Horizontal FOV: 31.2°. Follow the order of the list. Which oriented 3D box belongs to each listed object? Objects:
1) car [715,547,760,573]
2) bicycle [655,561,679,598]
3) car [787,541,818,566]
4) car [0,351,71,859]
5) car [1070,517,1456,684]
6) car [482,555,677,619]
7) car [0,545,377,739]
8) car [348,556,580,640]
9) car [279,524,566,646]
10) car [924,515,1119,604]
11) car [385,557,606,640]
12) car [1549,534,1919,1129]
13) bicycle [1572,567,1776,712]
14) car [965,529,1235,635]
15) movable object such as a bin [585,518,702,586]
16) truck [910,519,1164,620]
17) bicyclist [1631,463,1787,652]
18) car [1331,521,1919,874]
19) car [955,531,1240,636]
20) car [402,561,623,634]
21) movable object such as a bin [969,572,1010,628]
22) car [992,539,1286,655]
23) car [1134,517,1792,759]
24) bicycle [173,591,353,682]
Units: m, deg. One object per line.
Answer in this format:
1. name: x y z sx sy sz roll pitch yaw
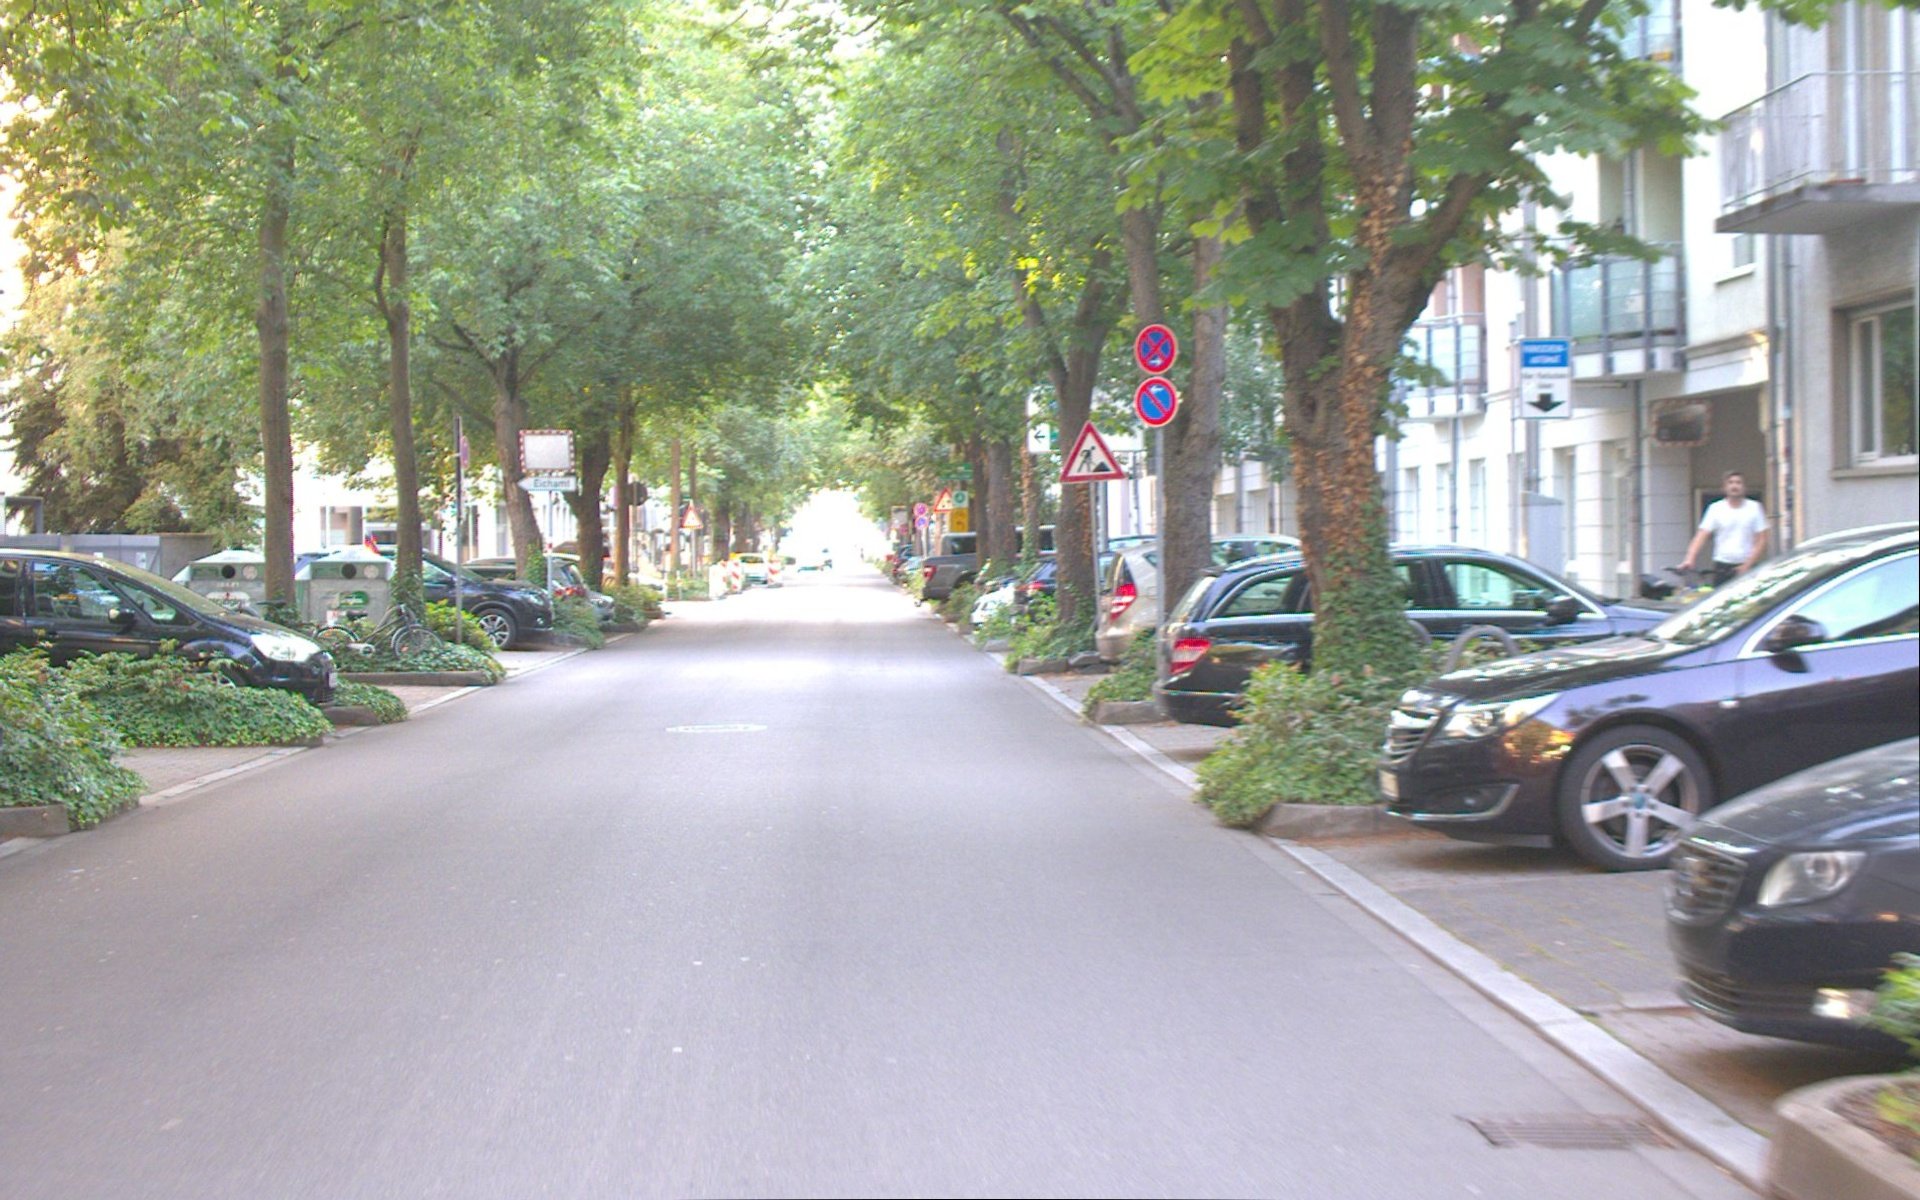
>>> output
1. car: -10.917 -1.968 168.607 1.993 1.284 4.001 -1 1 -6
2. bicycle: -9.304 -0.647 109.208 0.683 1.149 1.981 -1 1 -7
3. car: -10.322 -3.073 225.393 2.009 1.607 4.120 0 1 -3
4. car: -7.361 0.036 17.737 5.003 2.564 2.121 -1 1 -2
5. car: 3.304 -0.007 38.085 3.969 1.580 1.916 -3 1 -2
6. car: -9.485 -0.339 85.869 4.619 1.547 2.075 0 1 1
7. car: -7.717 0.350 30.154 4.852 1.616 2.160 0 1 -1
8. car: -8.958 -0.050 62.320 3.986 1.459 1.922 -1 1 -3
9. car: -8.875 -0.262 57.050 4.504 1.949 2.000 0 1 -3
10. car: 1.468 -1.003 84.080 4.599 2.059 2.198 -1 1 -3
11. car: -9.077 -0.047 67.367 3.987 1.560 1.929 0 1 3
12. car: 4.263 0.471 9.586 4.840 1.443 2.042 -3 1 1
13. bicycle: 6.116 0.305 29.681 0.620 1.160 3.402 -1 1 -8
14. car: 2.552 -0.339 63.322 4.641 1.612 2.010 -4 1 -5
15. movable object such as a bin: -11.396 -1.736 123.679 4.045 2.375 2.785 -1 1 -7
16. truck: 1.778 -0.728 81.347 5.887 2.303 2.212 -1 1 -1
17. bicyclist: 6.503 -0.369 29.897 0.970 1.599 1.136 -1 1 -9
18. car: 4.217 0.351 16.026 4.678 1.383 2.000 -3 1 0
19. car: 2.285 -0.292 57.991 4.599 1.463 1.796 -4 1 -2
20. car: -9.076 -0.064 69.996 4.287 1.425 1.879 -1 1 -2
21. movable object such as a bin: 0.594 -0.001 69.143 0.760 1.080 0.785 -2 1 -1
22. car: 2.684 -0.057 52.126 4.082 1.446 1.935 -4 1 -7
23. car: 3.535 0.252 24.888 4.459 1.422 2.011 -3 1 3
24. bicycle: -6.545 0.338 32.313 1.553 0.828 0.613 0 1 1
